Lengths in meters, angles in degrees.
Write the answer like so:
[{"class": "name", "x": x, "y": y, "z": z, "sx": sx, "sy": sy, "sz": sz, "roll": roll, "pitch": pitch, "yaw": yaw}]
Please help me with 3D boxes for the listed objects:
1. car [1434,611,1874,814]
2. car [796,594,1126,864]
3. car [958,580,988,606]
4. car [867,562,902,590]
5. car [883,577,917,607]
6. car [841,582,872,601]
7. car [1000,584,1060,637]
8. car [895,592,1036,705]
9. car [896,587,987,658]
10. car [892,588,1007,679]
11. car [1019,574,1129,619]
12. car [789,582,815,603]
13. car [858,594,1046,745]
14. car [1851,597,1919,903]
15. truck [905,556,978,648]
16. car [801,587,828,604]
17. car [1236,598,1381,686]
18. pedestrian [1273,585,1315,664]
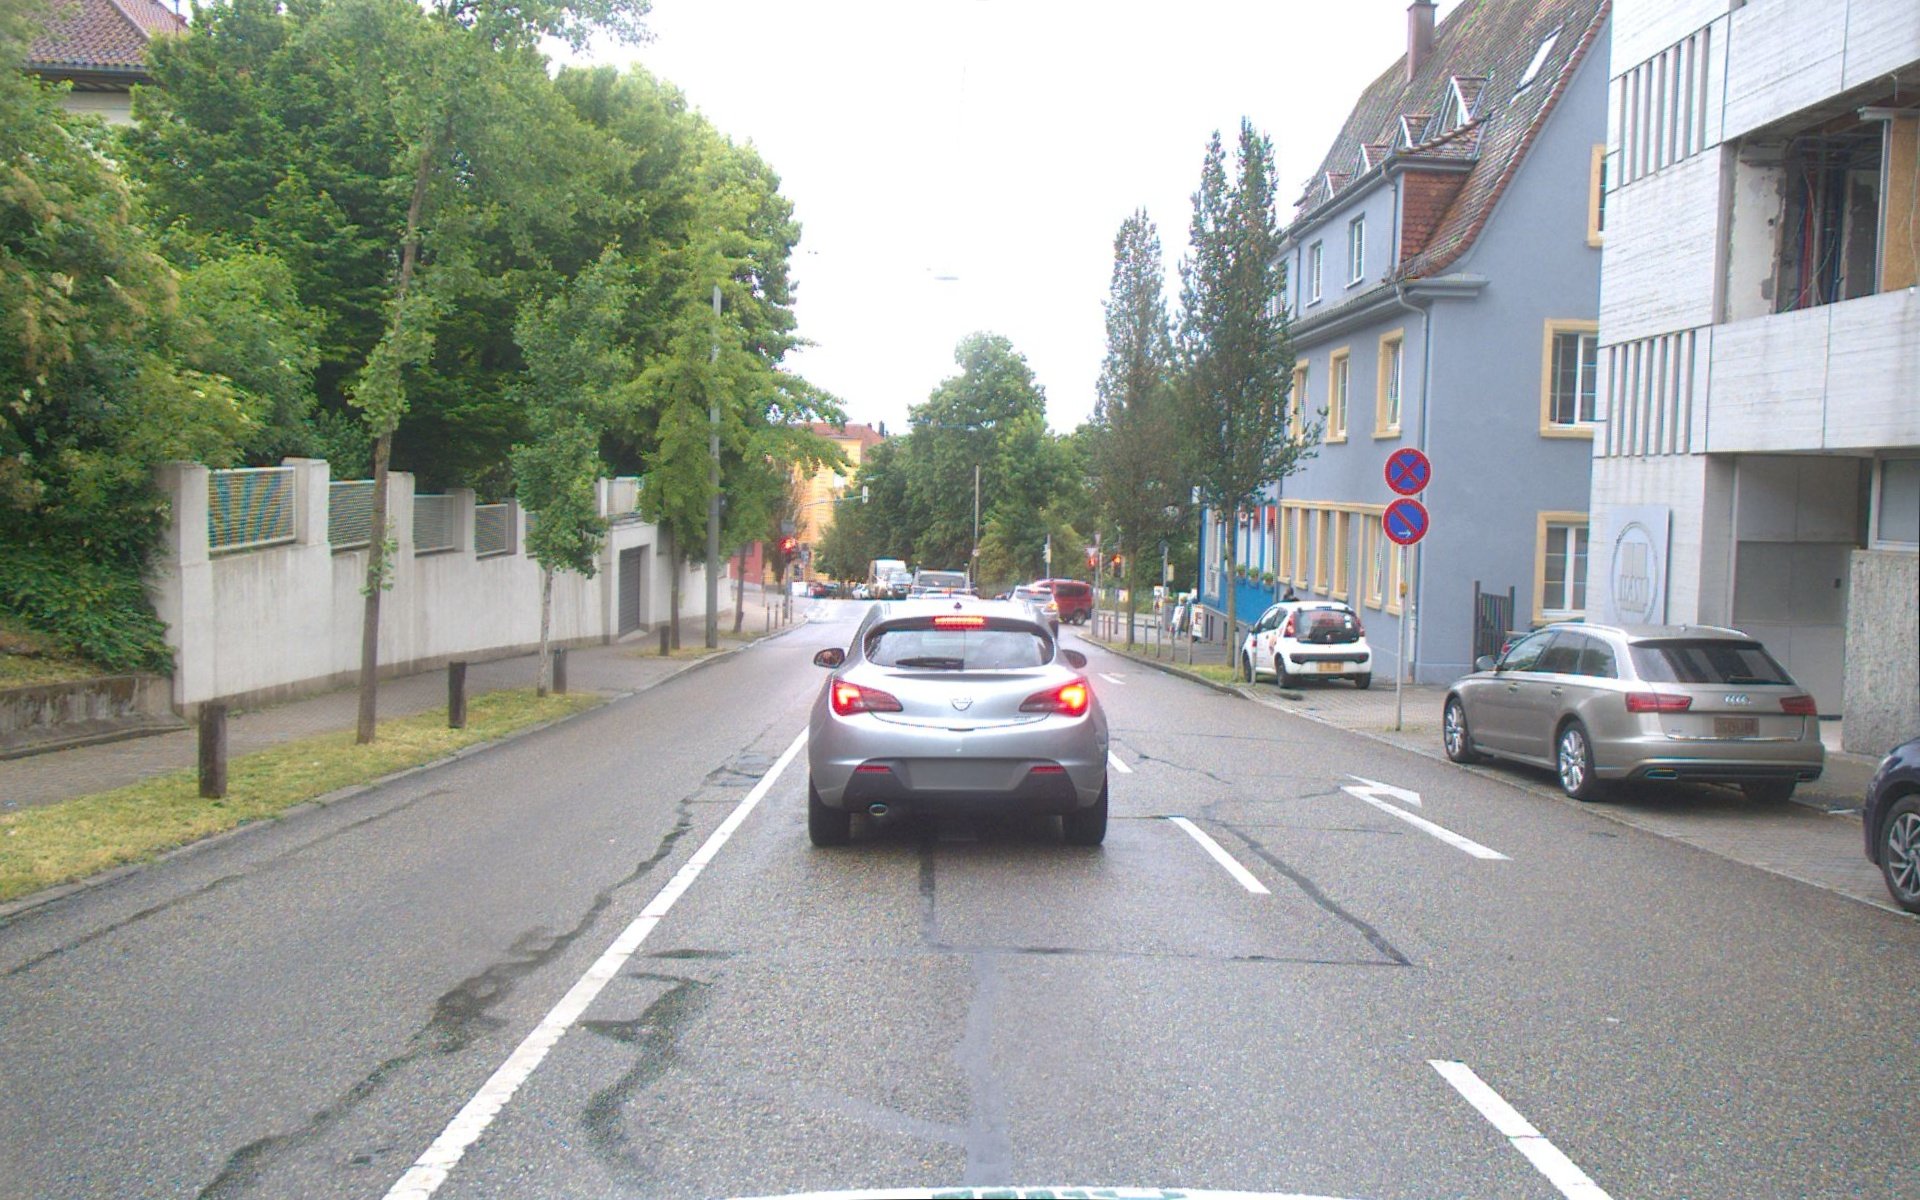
[{"class": "car", "x": 6.007, "y": 0.886, "z": 15.020, "sx": 1.923, "sy": 1.473, "sz": 4.524, "roll": 1, "pitch": 1, "yaw": -3}, {"class": "car", "x": -0.076, "y": 0.710, "z": 11.075, "sx": 1.800, "sy": 1.459, "sz": 3.878, "roll": 1, "pitch": 0, "yaw": -3}, {"class": "car", "x": 0.841, "y": -0.447, "z": 110.035, "sx": 1.689, "sy": 1.666, "sz": 3.876, "roll": 0, "pitch": 0, "yaw": -4}, {"class": "car", "x": -4.637, "y": -1.439, "z": 101.292, "sx": 1.691, "sy": 1.666, "sz": 3.871, "roll": 0, "pitch": 0, "yaw": -9}, {"class": "car", "x": -3.394, "y": -0.461, "z": 93.673, "sx": 1.833, "sy": 1.666, "sz": 3.878, "roll": 0, "pitch": 0, "yaw": -2}, {"class": "car", "x": -8.810, "y": -0.733, "z": 140.320, "sx": 1.696, "sy": 1.570, "sz": 3.859, "roll": 0, "pitch": 0, "yaw": -18}, {"class": "car", "x": 2.356, "y": 0.328, "z": 56.276, "sx": 1.688, "sy": 1.744, "sz": 3.877, "roll": 0, "pitch": 0, "yaw": -3}, {"class": "car", "x": 0.005, "y": 0.669, "z": 25.165, "sx": 1.922, "sy": 1.473, "sz": 4.304, "roll": 2, "pitch": 0, "yaw": -2}, {"class": "car", "x": -0.470, "y": 0.473, "z": 38.199, "sx": 1.922, "sy": 1.473, "sz": 4.304, "roll": 2, "pitch": 0, "yaw": -2}, {"class": "car", "x": -0.244, "y": 0.560, "z": 30.542, "sx": 1.922, "sy": 1.473, "sz": 4.304, "roll": 2, "pitch": 0, "yaw": -2}, {"class": "car", "x": 4.861, "y": -0.150, "z": 70.759, "sx": 4.368, "sy": 1.860, "sz": 1.746, "roll": -1, "pitch": 0, "yaw": -14}, {"class": "car", "x": -11.761, "y": -0.550, "z": 122.937, "sx": 1.688, "sy": 1.485, "sz": 3.878, "roll": 0, "pitch": 0, "yaw": -2}, {"class": "car", "x": -0.153, "y": 0.724, "z": 19.441, "sx": 1.922, "sy": 1.473, "sz": 4.304, "roll": 2, "pitch": 0, "yaw": -2}, {"class": "car", "x": 6.039, "y": 0.816, "z": 7.412, "sx": 1.694, "sy": 1.627, "sz": 4.159, "roll": 1, "pitch": 0, "yaw": -3}, {"class": "truck", "x": -0.601, "y": 0.022, "z": 48.198, "sx": 1.922, "sy": 2.471, "sz": 4.934, "roll": 2, "pitch": 0, "yaw": -2}, {"class": "car", "x": -13.992, "y": -0.451, "z": 159.000, "sx": 1.696, "sy": 1.666, "sz": 3.859, "roll": 0, "pitch": 0, "yaw": -18}, {"class": "car", "x": 6.225, "y": 0.702, "z": 29.905, "sx": 1.688, "sy": 1.473, "sz": 3.878, "roll": 0, "pitch": 0, "yaw": -2}, {"class": "pedestrian", "x": 7.620, "y": 0.558, "z": 37.739, "sx": 0.767, "sy": 1.759, "sz": 0.650, "roll": 2, "pitch": 0, "yaw": -1}]
